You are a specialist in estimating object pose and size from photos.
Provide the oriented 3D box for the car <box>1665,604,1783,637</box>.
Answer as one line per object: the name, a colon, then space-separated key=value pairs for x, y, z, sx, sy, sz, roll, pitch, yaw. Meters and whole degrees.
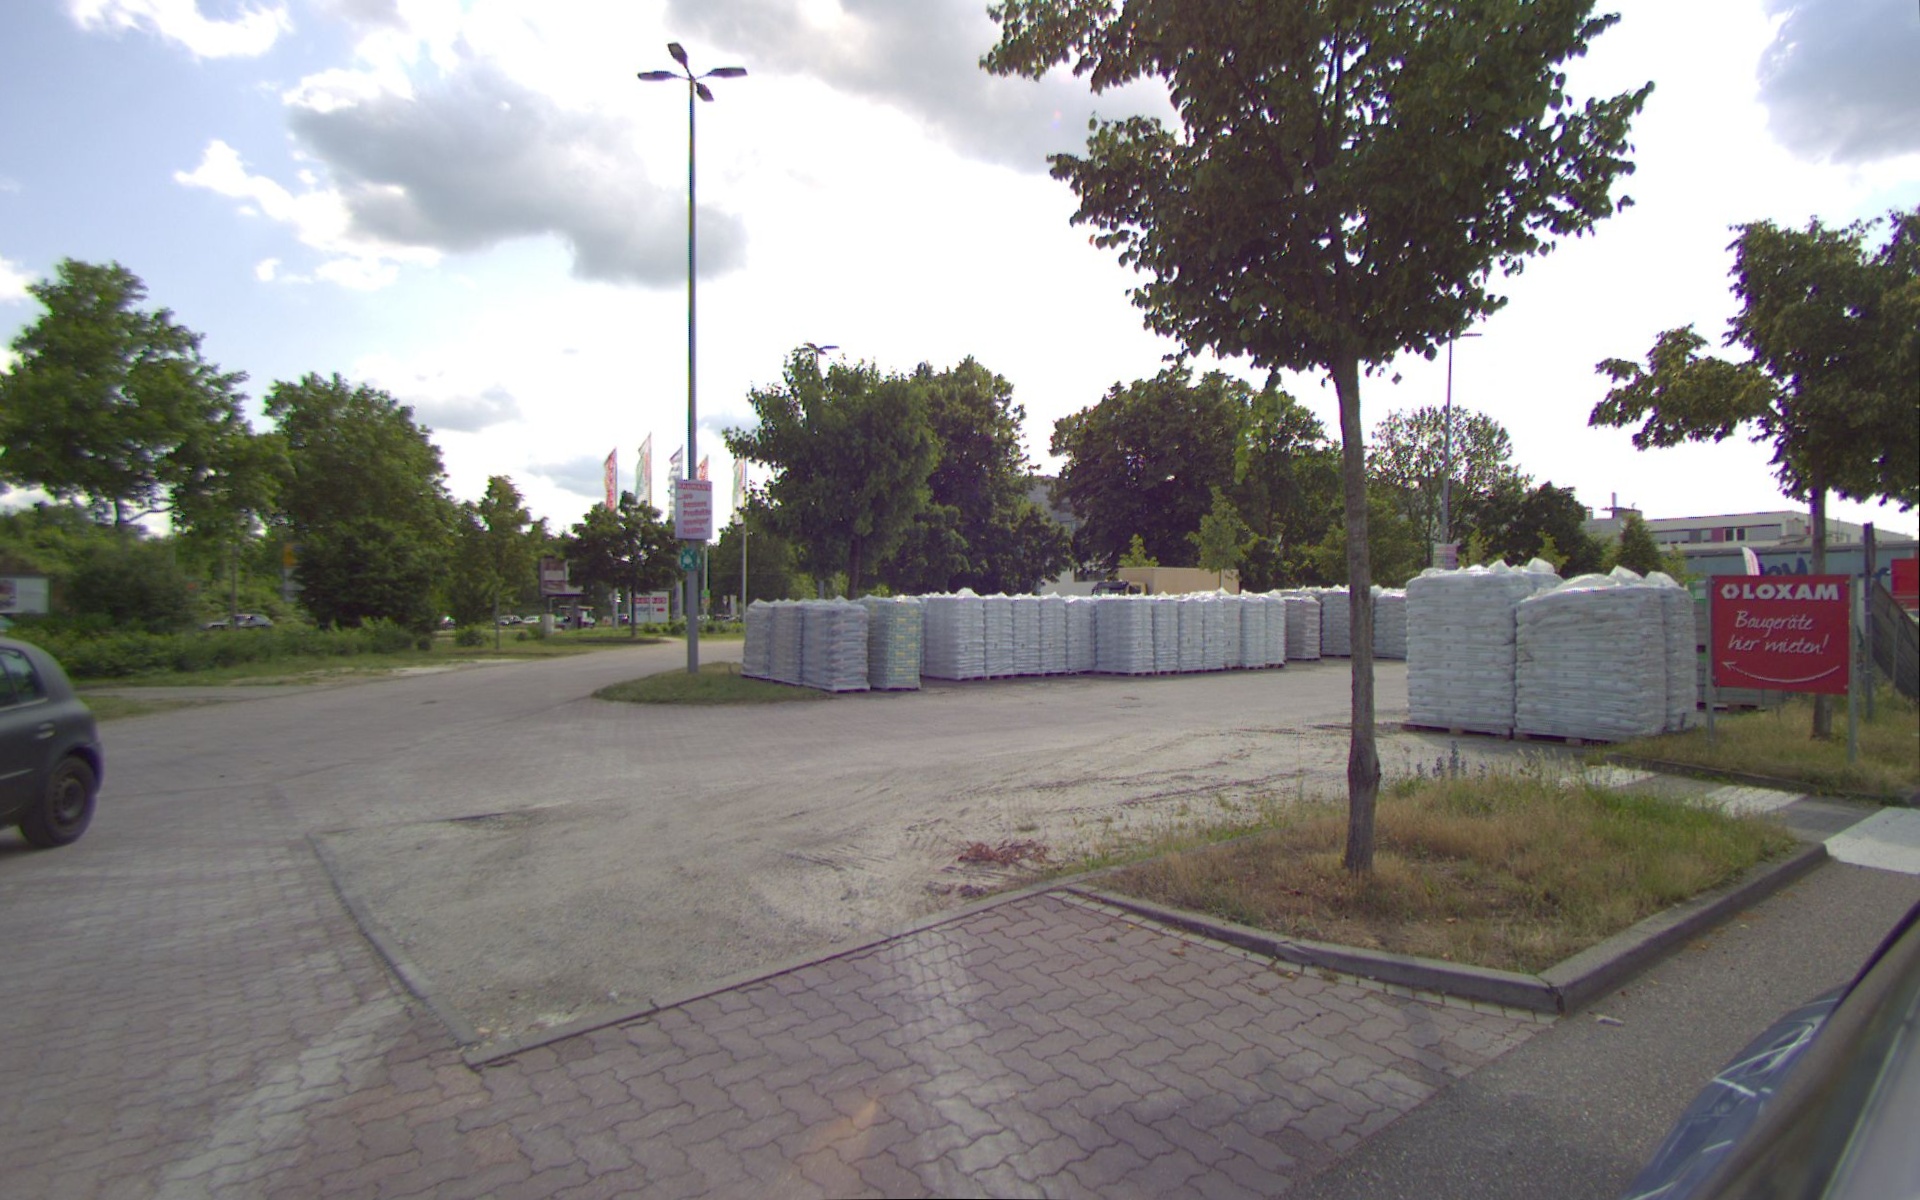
car: x=35.104 y=0.913 z=46.559 sx=1.591 sy=1.432 sz=4.137 roll=0 pitch=0 yaw=-42

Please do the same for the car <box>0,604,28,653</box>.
car: x=-35.322 y=1.115 z=35.376 sx=1.960 sy=1.736 sz=4.005 roll=-2 pitch=2 yaw=-5

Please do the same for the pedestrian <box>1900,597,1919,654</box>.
pedestrian: x=29.366 y=0.772 z=31.056 sx=0.863 sy=1.713 sz=0.600 roll=-1 pitch=0 yaw=-36

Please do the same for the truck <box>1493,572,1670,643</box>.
truck: x=23.802 y=0.275 z=38.972 sx=2.079 sy=2.547 sz=5.438 roll=1 pitch=-1 yaw=-40

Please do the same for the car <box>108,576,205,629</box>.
car: x=-42.086 y=0.133 z=53.146 sx=1.703 sy=2.575 sz=4.155 roll=-2 pitch=0 yaw=1

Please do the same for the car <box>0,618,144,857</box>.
car: x=-6.130 y=0.795 z=5.155 sx=1.578 sy=1.338 sz=3.794 roll=0 pitch=0 yaw=-13

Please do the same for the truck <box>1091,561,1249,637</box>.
truck: x=10.916 y=-0.031 z=52.023 sx=8.866 sy=3.644 sz=2.729 roll=1 pitch=0 yaw=-36
